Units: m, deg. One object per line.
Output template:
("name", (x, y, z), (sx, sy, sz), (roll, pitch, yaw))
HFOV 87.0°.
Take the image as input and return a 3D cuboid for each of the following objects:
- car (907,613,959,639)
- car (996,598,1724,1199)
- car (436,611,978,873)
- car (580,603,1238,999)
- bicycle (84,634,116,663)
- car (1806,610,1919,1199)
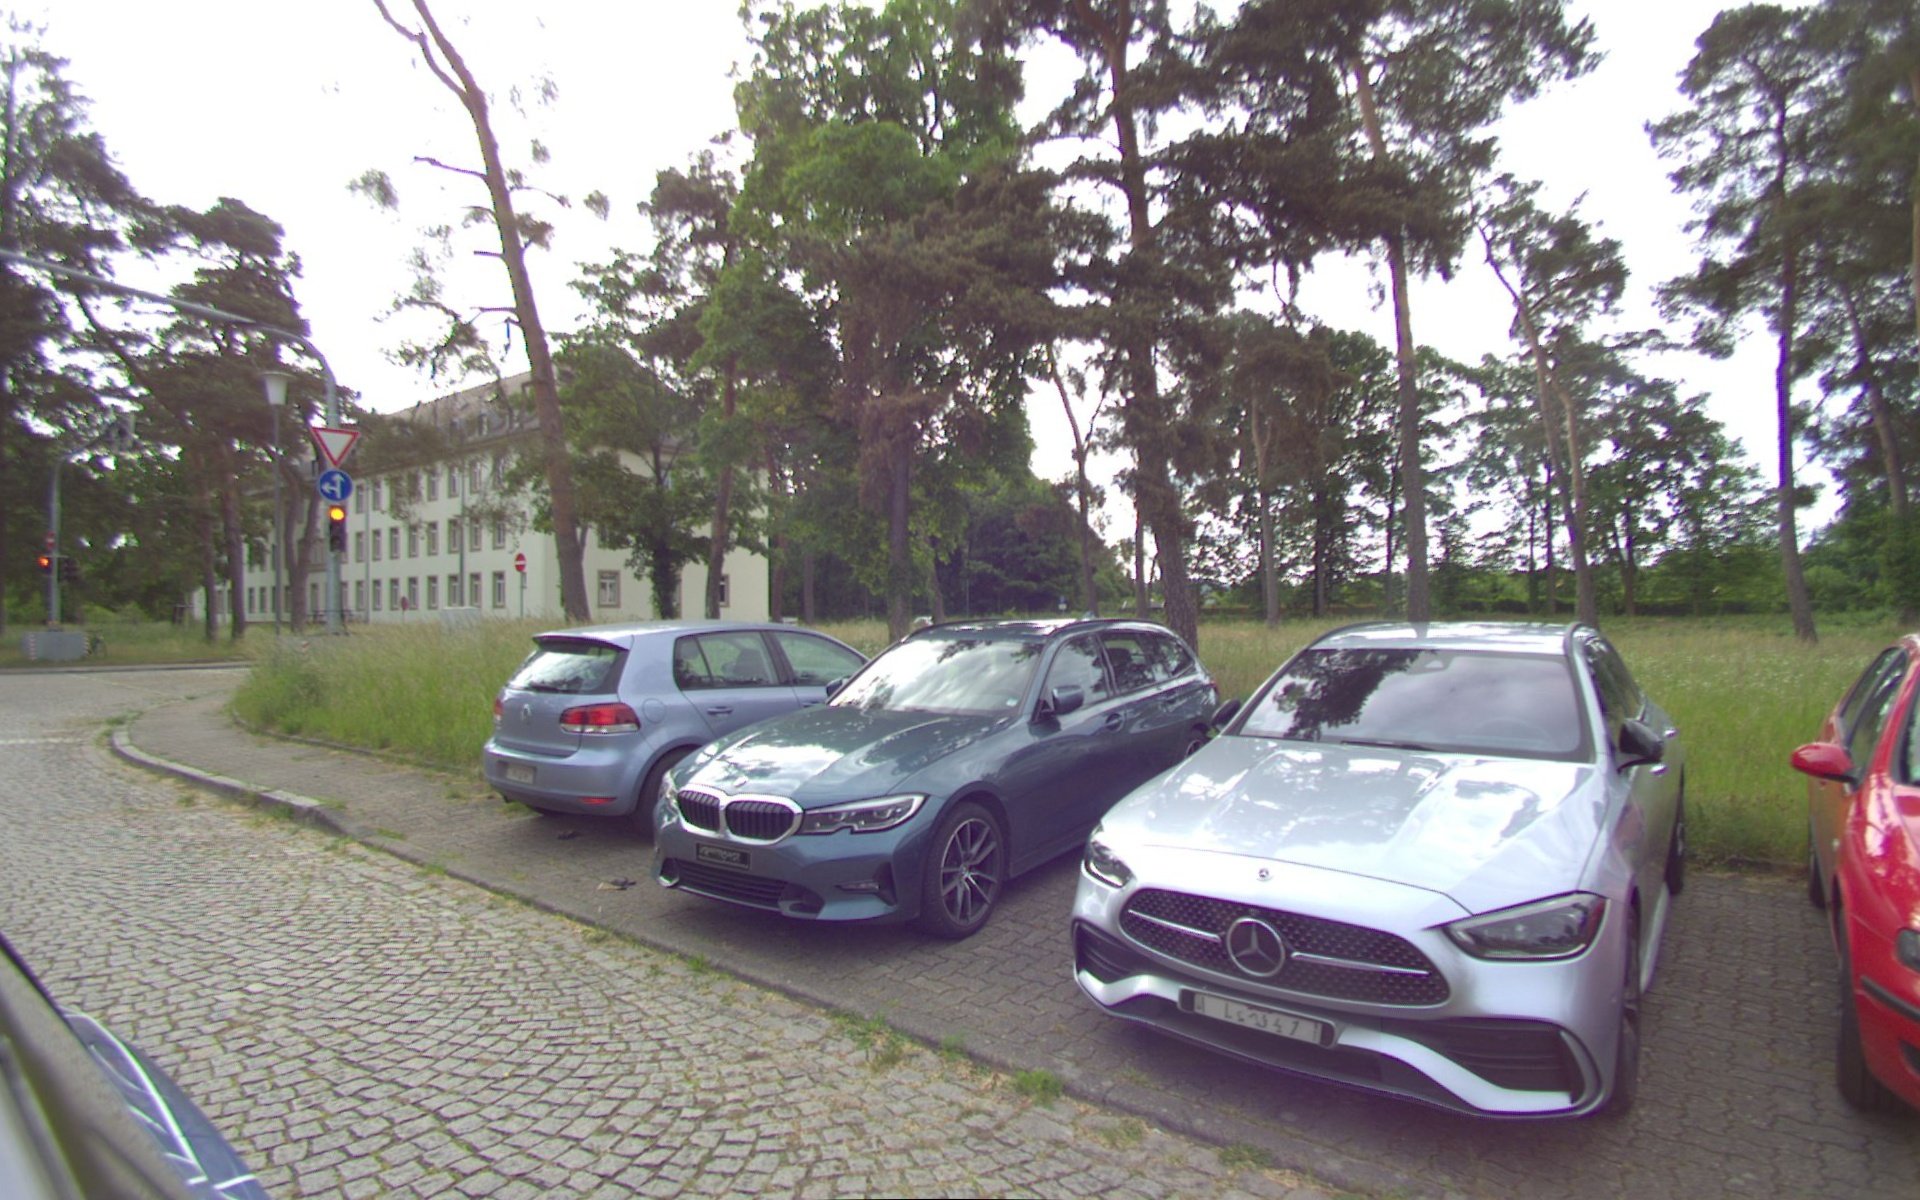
("car", (-2.005, 1.933, 75.795), (1.721, 1.820, 3.945), (-2, -1, 41))
("car", (2.179, 0.793, 4.564), (1.932, 1.519, 4.334), (-1, -1, 36))
("car", (-1.787, 0.880, 8.186), (1.902, 1.554, 3.949), (-1, -1, 37))
("car", (0.059, 0.830, 6.302), (1.931, 1.560, 4.213), (-1, -1, 35))
("bicycle", (-28.179, 1.592, 33.160), (1.045, 0.923, 0.292), (-1, -1, 18))
("car", (4.216, 0.769, 3.441), (1.862, 1.488, 4.126), (-1, -1, 38))
